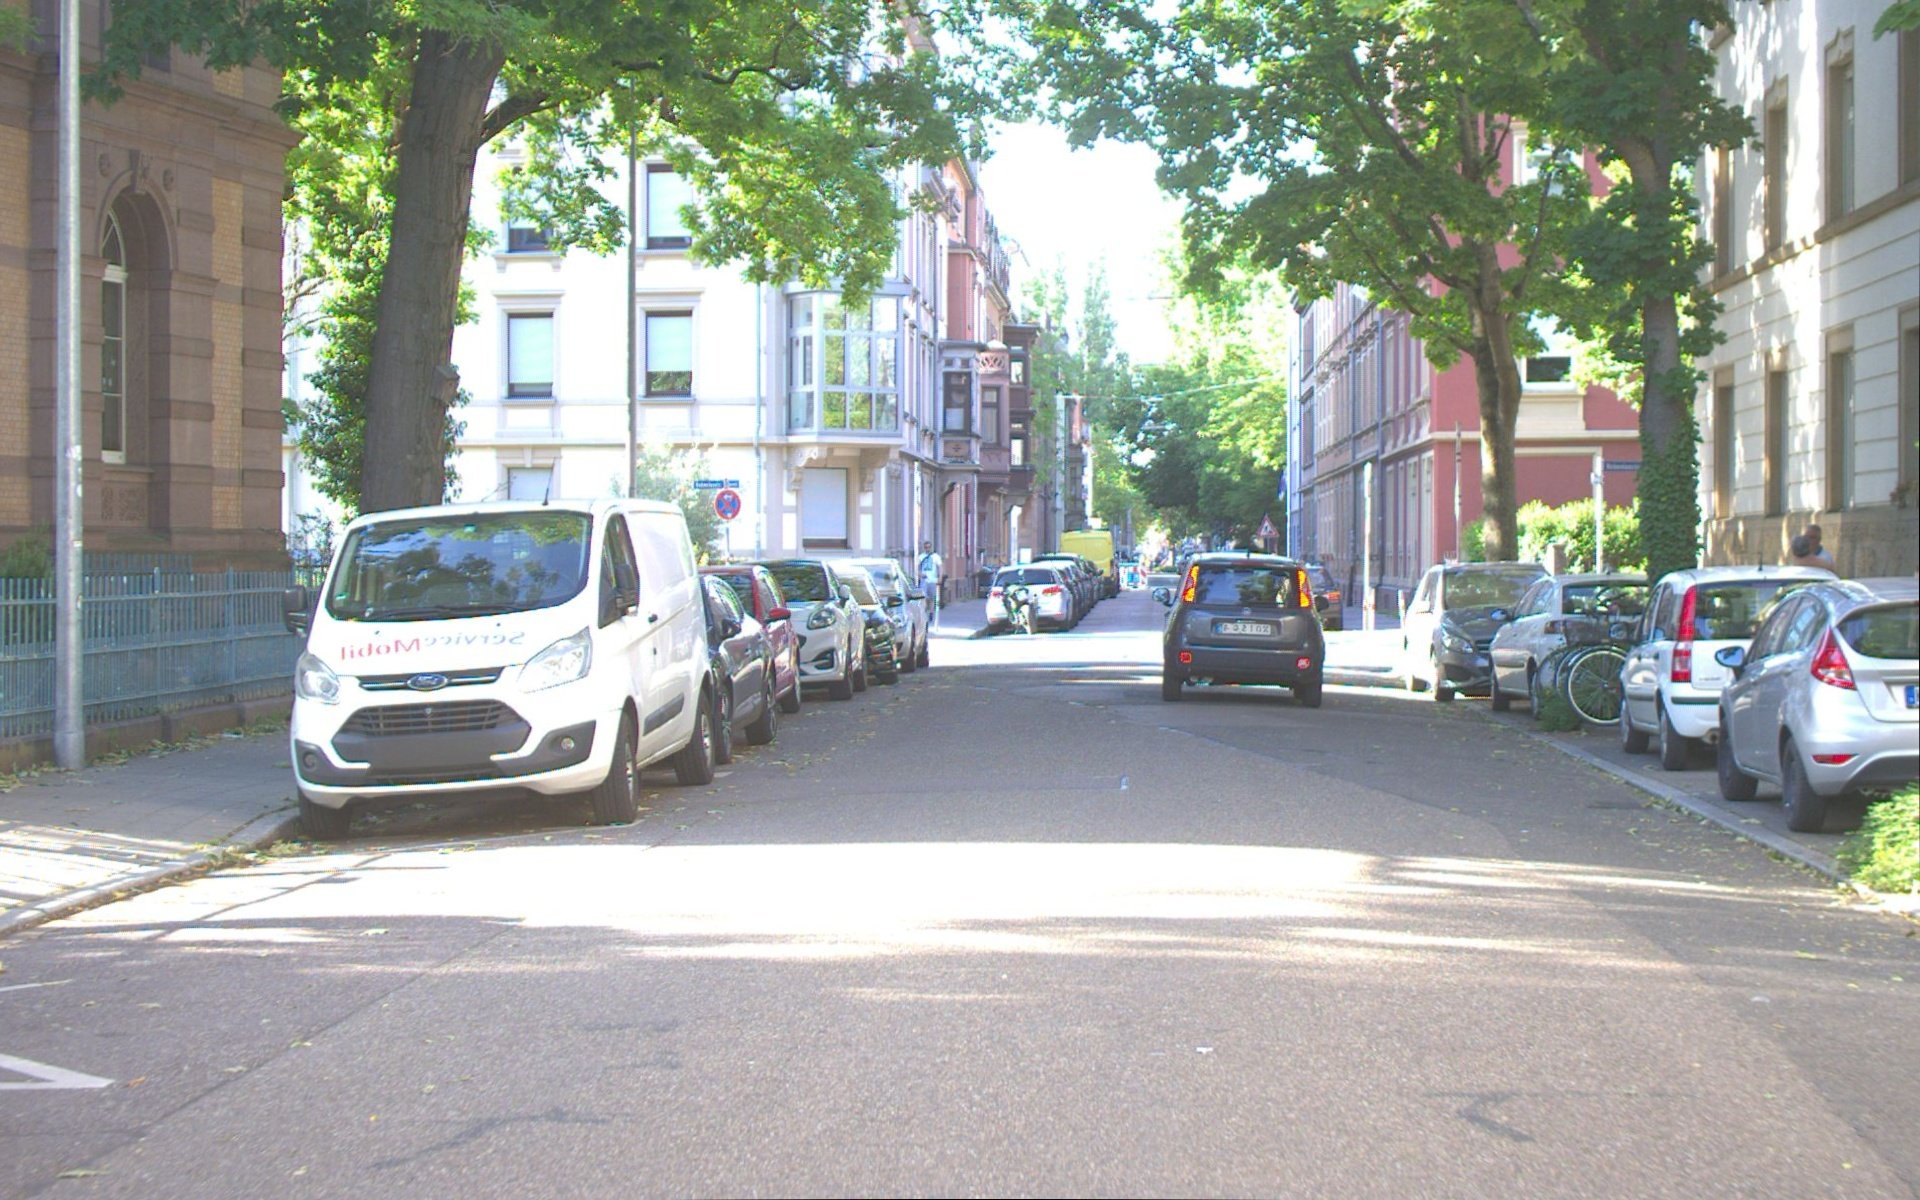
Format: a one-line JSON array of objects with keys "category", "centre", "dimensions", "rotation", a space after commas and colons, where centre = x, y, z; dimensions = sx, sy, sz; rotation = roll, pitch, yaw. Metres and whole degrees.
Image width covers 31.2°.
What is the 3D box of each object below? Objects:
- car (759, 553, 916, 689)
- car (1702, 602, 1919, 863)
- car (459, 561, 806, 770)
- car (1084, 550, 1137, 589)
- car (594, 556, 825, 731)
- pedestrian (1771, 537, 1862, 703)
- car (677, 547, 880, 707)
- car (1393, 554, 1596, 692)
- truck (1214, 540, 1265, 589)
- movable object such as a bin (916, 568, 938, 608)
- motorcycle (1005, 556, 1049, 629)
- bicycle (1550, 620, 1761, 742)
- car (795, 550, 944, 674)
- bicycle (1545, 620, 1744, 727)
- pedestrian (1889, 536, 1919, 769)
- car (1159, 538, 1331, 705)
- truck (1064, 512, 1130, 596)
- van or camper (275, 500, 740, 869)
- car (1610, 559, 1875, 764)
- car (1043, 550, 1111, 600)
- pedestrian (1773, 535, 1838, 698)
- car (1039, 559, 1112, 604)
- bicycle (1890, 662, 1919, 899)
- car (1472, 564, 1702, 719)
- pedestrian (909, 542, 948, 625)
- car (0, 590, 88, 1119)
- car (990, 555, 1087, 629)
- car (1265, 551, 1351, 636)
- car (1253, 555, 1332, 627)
[{"category": "car", "centre": [-1.515, 0.212, 42.635], "dimensions": [1.746, 1.469, 4.465], "rotation": [-4, 1, -2]}, {"category": "car", "centre": [5.706, 0.740, 21.203], "dimensions": [1.622, 1.389, 4.157], "rotation": [0, 1, 4]}, {"category": "car", "centre": [-2.508, 0.456, 27.527], "dimensions": [2.001, 1.452, 4.605], "rotation": [-2, 1, 4]}, {"category": "car", "centre": [6.249, -1.268, 142.000], "dimensions": [1.962, 1.474, 3.924], "rotation": [-3, 1, 5]}, {"category": "car", "centre": [-2.297, 0.362, 32.425], "dimensions": [1.602, 1.455, 4.027], "rotation": [-3, 1, 3]}, {"category": "pedestrian", "centre": [8.850, 0.196, 35.551], "dimensions": [0.778, 1.688, 0.874], "rotation": [1, 1, 7]}, {"category": "car", "centre": [-1.930, 0.257, 37.741], "dimensions": [1.825, 1.548, 4.133], "rotation": [-4, 1, 1]}, {"category": "car", "centre": [6.282, 0.236, 40.846], "dimensions": [1.789, 1.545, 4.410], "rotation": [0, 1, 1]}, {"category": "truck", "centre": [11.370, -1.465, 140.061], "dimensions": [1.994, 1.985, 4.000], "rotation": [0, 1, 4]}, {"category": "movable object such as a bin", "centre": [-0.798, -0.288, 82.374], "dimensions": [0.512, 0.949, 0.501], "rotation": [0, 1, 1]}, {"category": "motorcycle", "centre": [1.379, -0.164, 71.002], "dimensions": [0.696, 1.455, 1.751], "rotation": [-1, 1, -6]}, {"category": "bicycle", "centre": [6.190, 0.719, 30.649], "dimensions": [1.770, 1.036, 0.606], "rotation": [1, 1, 4]}, {"category": "car", "centre": [-1.214, 0.130, 47.727], "dimensions": [1.696, 1.545, 3.919], "rotation": [-3, 1, 3]}, {"category": "bicycle", "centre": [6.332, 0.677, 31.864], "dimensions": [1.715, 0.946, 0.733], "rotation": [-1, 1, 4]}, {"category": "pedestrian", "centre": [7.351, 0.384, 25.910], "dimensions": [0.520, 1.729, 0.878], "rotation": [0, 1, 5]}, {"category": "car", "centre": [2.935, 0.183, 35.451], "dimensions": [1.633, 1.544, 3.264], "rotation": [2, 2, 5]}, {"category": "truck", "centre": [5.084, -1.702, 126.774], "dimensions": [2.071, 2.916, 5.067], "rotation": [-4, 1, 5]}, {"category": "van or camper", "centre": [-2.715, 0.445, 22.010], "dimensions": [1.922, 1.973, 5.461], "rotation": [-3, 1, 3]}, {"category": "car", "centre": [6.101, 0.431, 27.120], "dimensions": [1.520, 1.505, 3.543], "rotation": [0, 1, 4]}, {"category": "car", "centre": [3.847, -0.837, 112.728], "dimensions": [1.962, 1.474, 3.924], "rotation": [-3, 1, 5]}, {"category": "pedestrian", "centre": [8.943, 0.165, 36.389], "dimensions": [0.489, 1.700, 0.757], "rotation": [1, 1, 3]}, {"category": "car", "centre": [3.544, -0.588, 105.080], "dimensions": [1.962, 1.220, 3.924], "rotation": [-3, 1, 5]}, {"category": "bicycle", "centre": [5.385, 0.805, 15.929], "dimensions": [1.969, 1.069, 0.599], "rotation": [-2, 0, 5]}, {"category": "car", "centre": [6.342, 0.381, 35.134], "dimensions": [1.610, 1.473, 3.870], "rotation": [0, 1, -1]}, {"category": "pedestrian", "centre": [-0.708, -0.379, 77.170], "dimensions": [0.723, 1.833, 0.626], "rotation": [1, 1, 15]}, {"category": "car", "centre": [-3.505, 0.755, 7.503], "dimensions": [1.714, 1.390, 4.779], "rotation": [-4, 1, 3]}, {"category": "car", "centre": [1.726, -0.191, 74.283], "dimensions": [1.797, 1.427, 3.924], "rotation": [-3, 1, 5]}, {"category": "car", "centre": [7.203, -0.159, 71.421], "dimensions": [1.663, 1.663, 3.756], "rotation": [1, 1, 5]}, {"category": "car", "centre": [7.322, -0.212, 75.918], "dimensions": [1.663, 1.500, 3.756], "rotation": [1, 1, 5]}]
